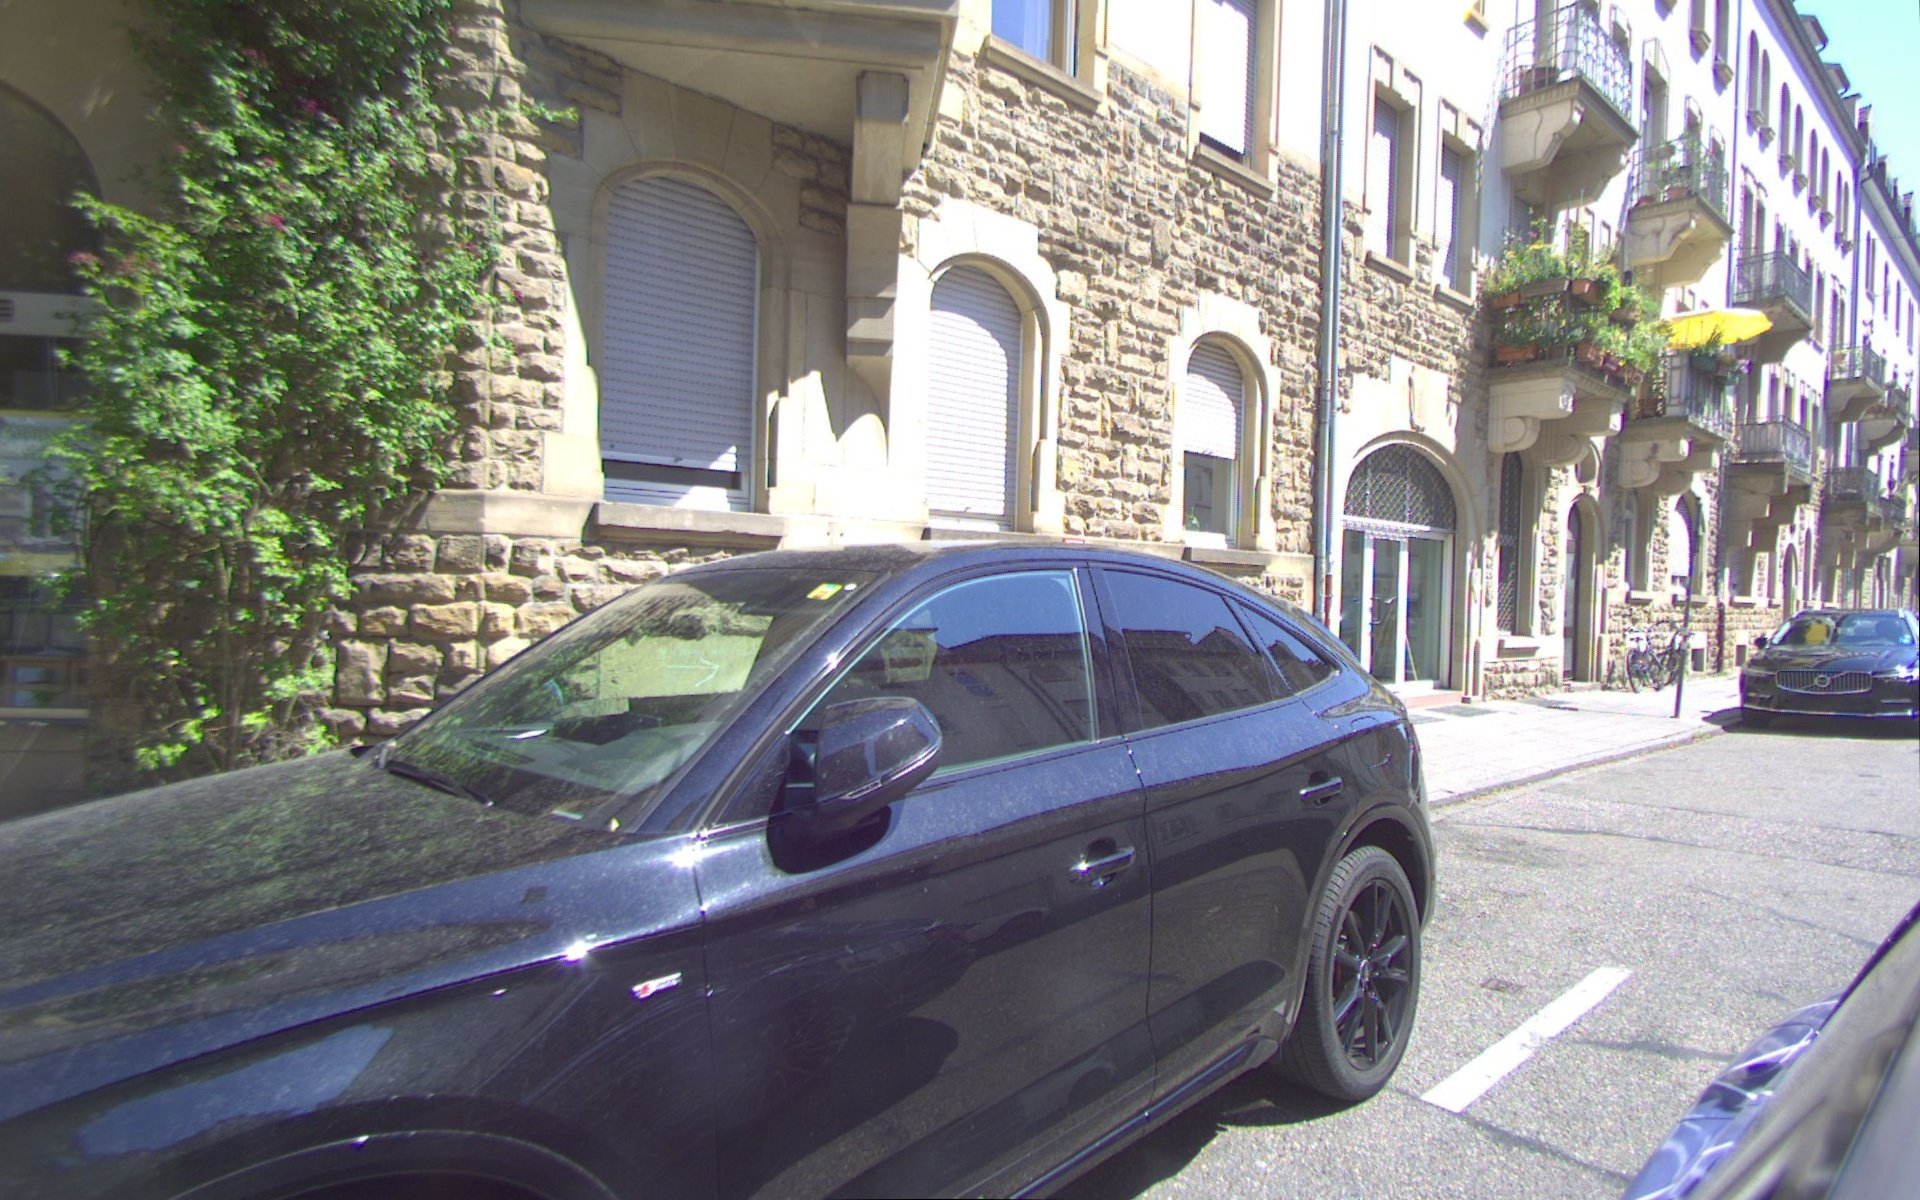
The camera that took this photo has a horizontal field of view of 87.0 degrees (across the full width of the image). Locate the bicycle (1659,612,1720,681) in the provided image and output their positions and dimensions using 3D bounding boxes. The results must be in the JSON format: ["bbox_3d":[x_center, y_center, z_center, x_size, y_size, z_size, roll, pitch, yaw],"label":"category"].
[{"bbox_3d":[13.652,0.842,18.916,1.743,1.222,0.442,1,2,-39],"label":"bicycle"}]

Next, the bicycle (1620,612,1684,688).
[{"bbox_3d":[11.895,0.834,17.377,1.743,1.222,0.385,1,2,-39],"label":"bicycle"}]

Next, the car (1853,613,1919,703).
[{"bbox_3d":[16.659,0.936,17.423,3.904,1.416,1.514,1,-1,-42],"label":"car"}]

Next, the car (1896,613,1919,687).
[{"bbox_3d":[20.942,1.020,21.149,3.774,1.471,1.573,0,-1,-40],"label":"car"}]

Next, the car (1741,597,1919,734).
[{"bbox_3d":[12.376,0.776,13.884,4.525,1.587,1.836,0,-1,-42],"label":"car"}]

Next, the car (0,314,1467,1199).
[{"bbox_3d":[-0.384,0.551,2.636,4.275,1.617,1.737,1,-1,-44],"label":"car"}]
